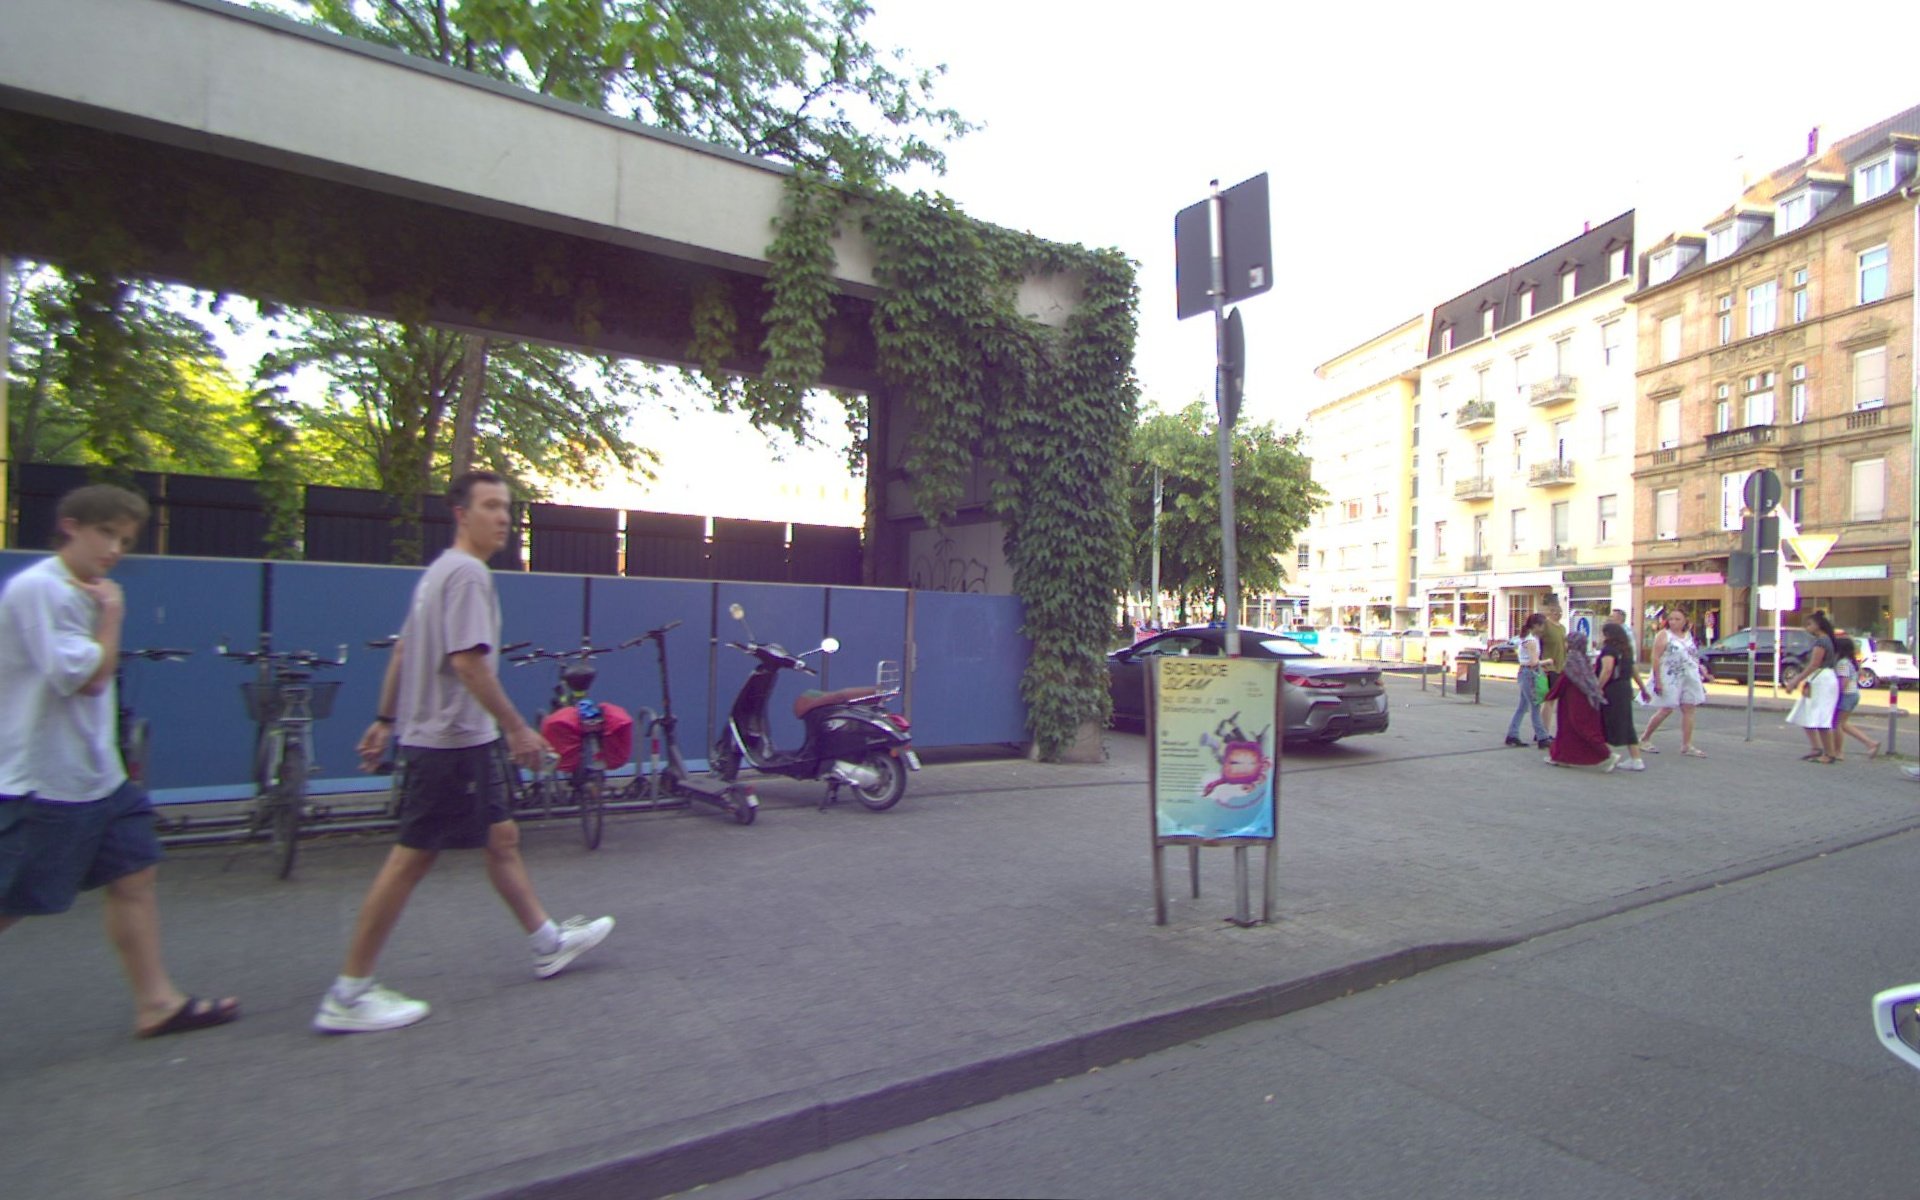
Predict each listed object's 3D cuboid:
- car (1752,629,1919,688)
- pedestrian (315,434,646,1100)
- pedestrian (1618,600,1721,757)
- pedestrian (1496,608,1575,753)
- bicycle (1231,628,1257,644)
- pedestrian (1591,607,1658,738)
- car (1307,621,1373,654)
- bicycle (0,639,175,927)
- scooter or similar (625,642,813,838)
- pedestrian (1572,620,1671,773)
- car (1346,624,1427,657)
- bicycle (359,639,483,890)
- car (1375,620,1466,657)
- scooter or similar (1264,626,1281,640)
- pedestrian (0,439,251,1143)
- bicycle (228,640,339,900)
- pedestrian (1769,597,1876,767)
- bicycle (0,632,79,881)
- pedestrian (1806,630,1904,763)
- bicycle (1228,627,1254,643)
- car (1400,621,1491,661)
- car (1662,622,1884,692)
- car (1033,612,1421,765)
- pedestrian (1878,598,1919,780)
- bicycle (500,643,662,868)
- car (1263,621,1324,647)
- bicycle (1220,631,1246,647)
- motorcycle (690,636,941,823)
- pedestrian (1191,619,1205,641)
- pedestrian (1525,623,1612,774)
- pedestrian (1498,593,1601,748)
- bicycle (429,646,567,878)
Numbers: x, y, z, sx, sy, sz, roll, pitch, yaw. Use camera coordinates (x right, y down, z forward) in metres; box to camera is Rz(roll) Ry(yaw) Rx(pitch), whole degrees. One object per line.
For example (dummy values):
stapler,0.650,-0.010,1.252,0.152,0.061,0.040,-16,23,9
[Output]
car,27.889,1.818,32.083,1.674,1.606,3.994,1,0,-8
pedestrian,-1.685,0.484,3.524,0.879,1.909,0.977,2,1,-30
pedestrian,8.701,0.934,12.360,0.866,1.827,0.714,2,1,26
pedestrian,7.126,0.959,12.421,0.703,1.691,0.879,2,1,36
bicycle,21.719,2.730,76.780,1.857,1.127,0.520,2,-1,-12
pedestrian,9.384,0.994,14.212,0.675,1.769,0.715,2,1,29
car,23.564,2.280,62.463,1.840,1.785,4.401,2,0,-8
bicycle,-4.244,0.780,4.791,0.430,1.102,1.488,2,0,-25
scooter or similar,-1.639,0.871,6.702,1.475,1.102,0.409,2,1,41
pedestrian,7.383,1.047,11.250,0.784,1.603,0.730,2,1,26
car,24.092,2.260,56.911,1.985,1.564,4.863,2,0,-8
bicycle,-3.008,0.819,5.549,0.407,1.126,1.482,1,1,-35
car,22.219,1.846,48.648,1.784,1.538,4.225,2,0,-12
scooter or similar,27.876,2.977,89.634,1.295,1.179,0.524,2,-1,-2
pedestrian,-2.732,0.486,2.997,0.879,1.818,0.977,2,1,-30
bicycle,-3.577,0.802,5.296,0.407,1.102,1.482,1,1,-35
pedestrian,10.163,0.935,11.867,0.767,1.900,0.713,2,1,29
bicycle,-4.894,0.751,4.879,0.544,1.101,1.858,2,0,-30
pedestrian,10.725,1.128,12.059,0.703,1.506,0.603,2,1,29
bicycle,21.623,2.707,77.312,1.857,1.127,0.600,2,-1,-11
car,24.723,2.045,51.307,1.854,1.768,4.652,2,0,-8
car,22.889,1.528,28.548,2.062,1.675,4.604,0,1,-13
car,3.192,0.962,12.801,2.088,1.450,4.400,2,0,-38
pedestrian,10.439,0.937,10.414,0.965,1.878,0.890,2,0,8
bicycle,-2.325,0.853,6.067,0.542,1.102,1.482,2,0,-35
car,22.725,2.296,68.638,1.964,1.634,4.796,2,-1,-9
bicycle,21.483,3.078,79.067,1.857,1.127,0.760,2,-1,-12
motorcycle,-1.070,0.881,7.288,1.795,1.141,0.536,2,1,27
pedestrian,19.952,2.522,84.156,0.784,1.743,0.809,2,-1,-15
pedestrian,6.668,1.049,11.009,0.670,1.563,0.589,2,1,43
pedestrian,7.531,0.877,12.851,0.839,1.902,0.711,2,1,-21
bicycle,-2.696,0.849,5.792,0.438,1.084,1.482,1,0,-35
